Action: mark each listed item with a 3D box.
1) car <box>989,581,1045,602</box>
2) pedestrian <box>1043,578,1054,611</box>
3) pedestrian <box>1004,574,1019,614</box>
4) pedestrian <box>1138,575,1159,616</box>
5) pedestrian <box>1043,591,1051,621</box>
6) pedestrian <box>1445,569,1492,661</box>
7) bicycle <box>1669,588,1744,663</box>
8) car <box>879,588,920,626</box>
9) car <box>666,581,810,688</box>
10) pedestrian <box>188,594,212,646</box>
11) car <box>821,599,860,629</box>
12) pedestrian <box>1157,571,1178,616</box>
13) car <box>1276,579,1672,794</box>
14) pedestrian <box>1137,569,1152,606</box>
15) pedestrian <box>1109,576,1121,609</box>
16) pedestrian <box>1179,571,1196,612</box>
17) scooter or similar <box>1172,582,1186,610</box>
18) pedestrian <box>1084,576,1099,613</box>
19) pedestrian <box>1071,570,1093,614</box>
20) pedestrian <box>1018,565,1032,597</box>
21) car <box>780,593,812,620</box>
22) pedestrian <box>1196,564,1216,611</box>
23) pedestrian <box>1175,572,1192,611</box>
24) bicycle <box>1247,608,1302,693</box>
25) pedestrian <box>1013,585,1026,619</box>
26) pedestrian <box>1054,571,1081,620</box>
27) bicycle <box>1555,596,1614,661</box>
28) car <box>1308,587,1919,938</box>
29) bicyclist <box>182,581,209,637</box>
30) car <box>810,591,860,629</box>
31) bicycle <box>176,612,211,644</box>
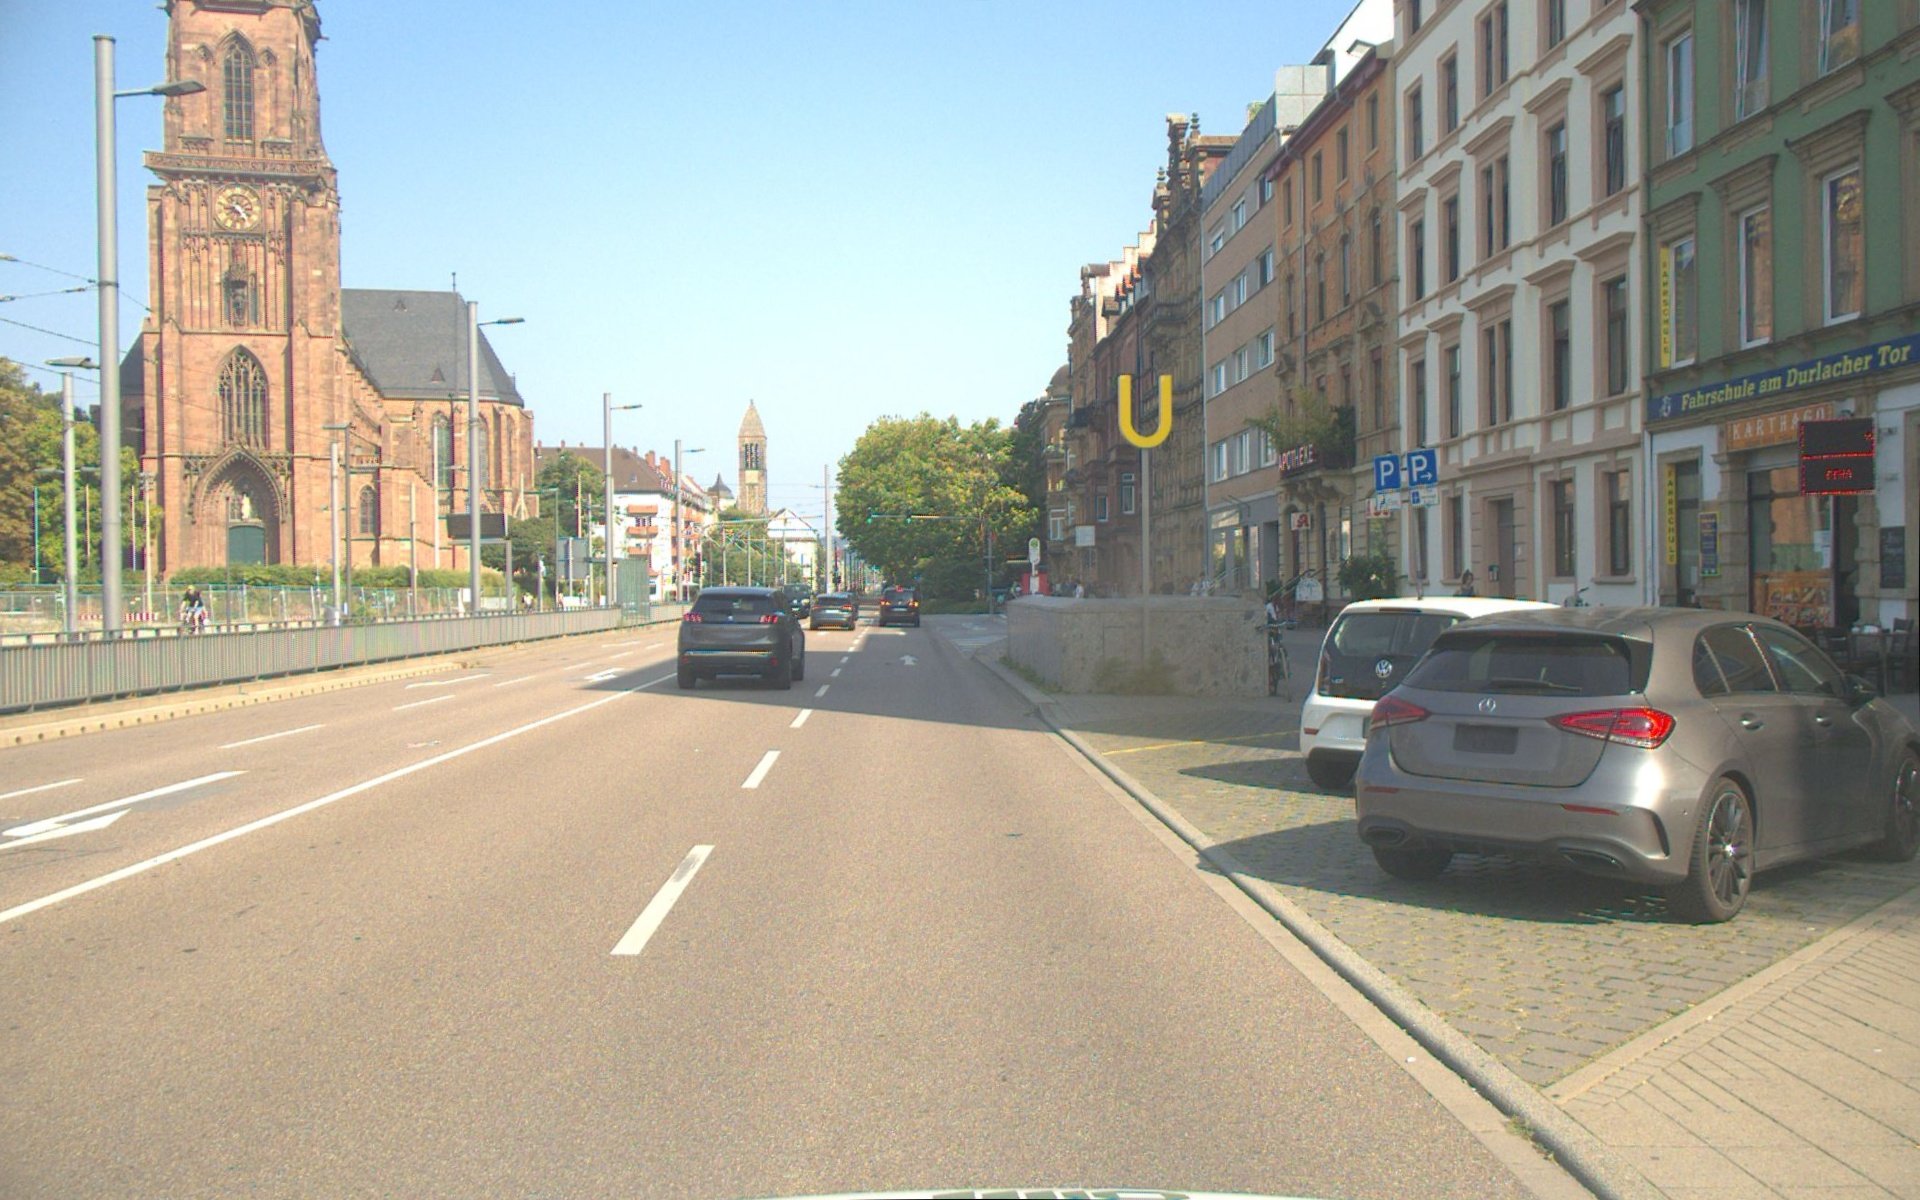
[{"bbox_3d":[4.402,-0.653,129.083,4.100,1.590,1.997,-1,0,-7],"label":"car"},{"bbox_3d":[4.714,-0.312,88.143,0.472,1.731,0.702,-1,0,-6],"label":"pedestrian"},{"bbox_3d":[2.317,-0.269,74.027,0.554,1.759,0.744,-1,0,-6],"label":"pedestrian"},{"bbox_3d":[7.710,-0.175,67.569,0.705,1.638,0.856,-1,0,-1],"label":"pedestrian"},{"bbox_3d":[3.741,0.264,71.178,0.270,1.296,0.447,-1,0,-9],"label":"pedestrian"},{"bbox_3d":[9.317,0.264,30.314,0.596,1.657,0.737,-1,0,-2],"label":"pedestrian"},{"bbox_3d":[11.962,0.396,26.551,0.376,1.154,1.719,-1,0,-2],"label":"bicycle"},{"bbox_3d":[-2.734,0.298,74.926,1.795,1.649,4.355,0,1,-2],"label":"car"},{"bbox_3d":[-3.633,0.511,27.779,1.953,1.649,4.355,0,1,-2],"label":"car"},{"bbox_3d":[-25.757,0.680,56.060,0.507,1.730,0.664,-1,0,-3],"label":"pedestrian"},{"bbox_3d":[-6.161,0.721,85.729,1.826,1.449,4.355,0,1,-2],"label":"car"},{"bbox_3d":[8.461,-0.262,67.588,0.705,1.818,0.856,-1,0,-1],"label":"pedestrian"},{"bbox_3d":[4.219,0.590,13.326,3.502,1.489,1.596,-1,0,-44],"label":"car"},{"bbox_3d":[8.849,-0.603,79.394,0.617,1.749,0.690,-1,0,-3],"label":"pedestrian"},{"bbox_3d":[7.769,-0.357,82.737,0.476,1.638,0.812,-1,0,-1],"label":"pedestrian"},{"bbox_3d":[9.847,-0.368,71.544,0.591,1.761,0.510,-1,0,-6],"label":"pedestrian"},{"bbox_3d":[9.313,-0.174,70.399,0.353,1.183,1.151,-1,1,-5],"label":"scooter or similar"},{"bbox_3d":[6.581,-0.267,82.659,0.604,1.835,1.071,-1,0,-1],"label":"pedestrian"},{"bbox_3d":[5.009,-0.327,68.028,0.735,1.759,0.800,-1,0,-6],"label":"pedestrian"},{"bbox_3d":[3.513,-1.017,88.817,0.676,1.693,0.619,-1,0,-2],"label":"pedestrian"},{"bbox_3d":[-9.741,0.362,98.411,1.706,1.553,3.871,-1,1,-3],"label":"car"},{"bbox_3d":[9.745,-0.494,65.504,0.591,1.863,0.741,-1,0,-6],"label":"pedestrian"},{"bbox_3d":[9.822,-0.374,72.621,0.591,1.721,0.586,-1,0,-6],"label":"pedestrian"},{"bbox_3d":[4.551,0.714,24.012,0.375,1.154,1.790,-1,0,-2],"label":"bicycle"},{"bbox_3d":[2.912,0.076,80.924,0.518,1.640,0.702,-1,0,-6],"label":"pedestrian"},{"bbox_3d":[4.177,-0.188,64.069,0.907,1.863,0.800,-1,0,-6],"label":"pedestrian"},{"bbox_3d":[11.521,0.513,30.562,0.376,1.154,1.719,-1,0,-2],"label":"bicycle"},{"bbox_3d":[3.918,0.668,9.111,4.376,1.448,1.818,-1,0,-45],"label":"car"},{"bbox_3d":[-24.452,0.271,52.925,0.477,1.777,0.819,-1,0,-2],"label":"bicyclist"},{"bbox_3d":[-5.000,0.384,66.676,1.826,1.449,4.355,0,1,-2],"label":"car"},{"bbox_3d":[-24.510,0.899,52.900,0.343,0.970,1.695,-1,0,-2],"label":"bicycle"}]
